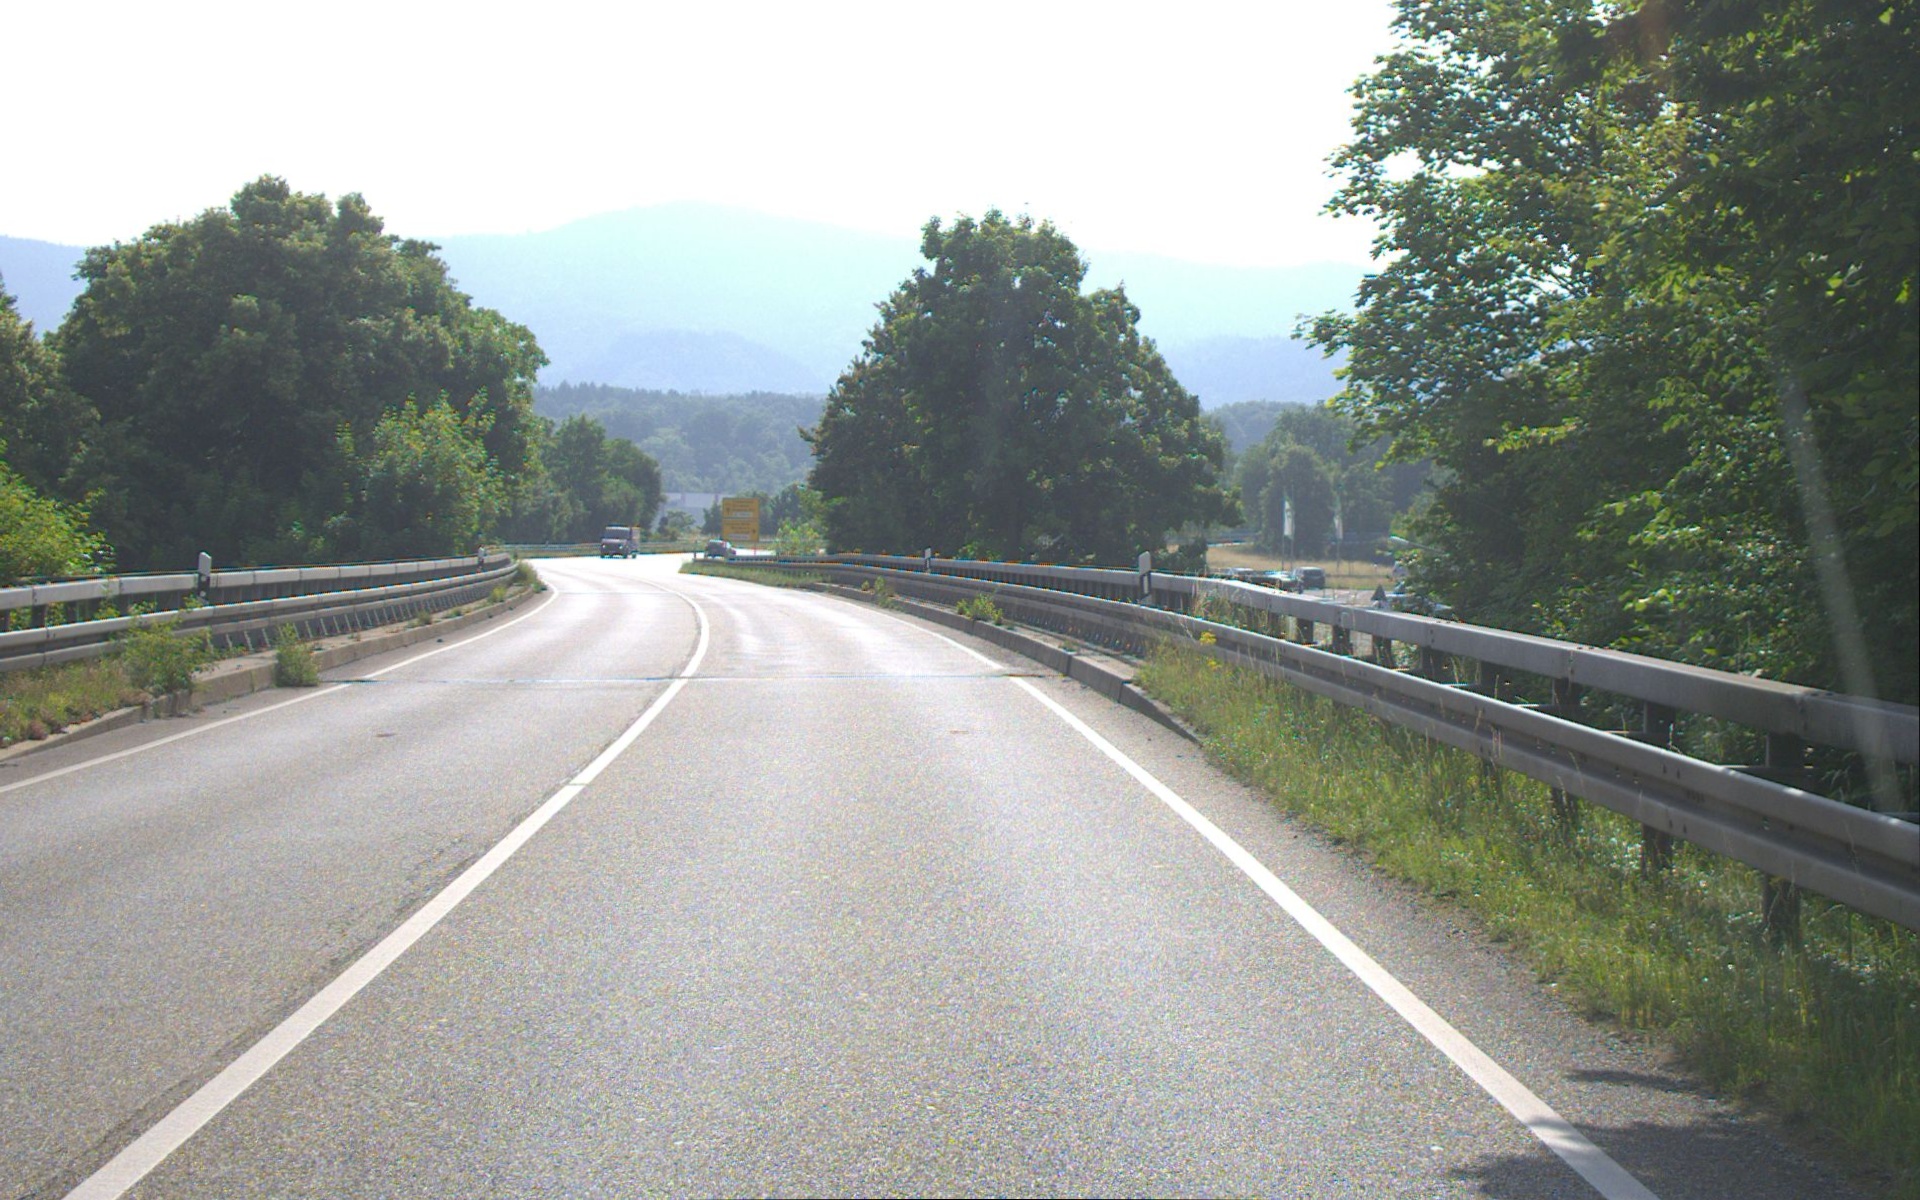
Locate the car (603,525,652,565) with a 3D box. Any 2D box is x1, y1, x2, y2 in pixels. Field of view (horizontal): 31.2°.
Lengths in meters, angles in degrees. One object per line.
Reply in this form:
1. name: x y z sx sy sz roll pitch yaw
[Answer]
1. car: -24.755 -4.111 255.714 3.171 2.630 8.402 5 1 -7
